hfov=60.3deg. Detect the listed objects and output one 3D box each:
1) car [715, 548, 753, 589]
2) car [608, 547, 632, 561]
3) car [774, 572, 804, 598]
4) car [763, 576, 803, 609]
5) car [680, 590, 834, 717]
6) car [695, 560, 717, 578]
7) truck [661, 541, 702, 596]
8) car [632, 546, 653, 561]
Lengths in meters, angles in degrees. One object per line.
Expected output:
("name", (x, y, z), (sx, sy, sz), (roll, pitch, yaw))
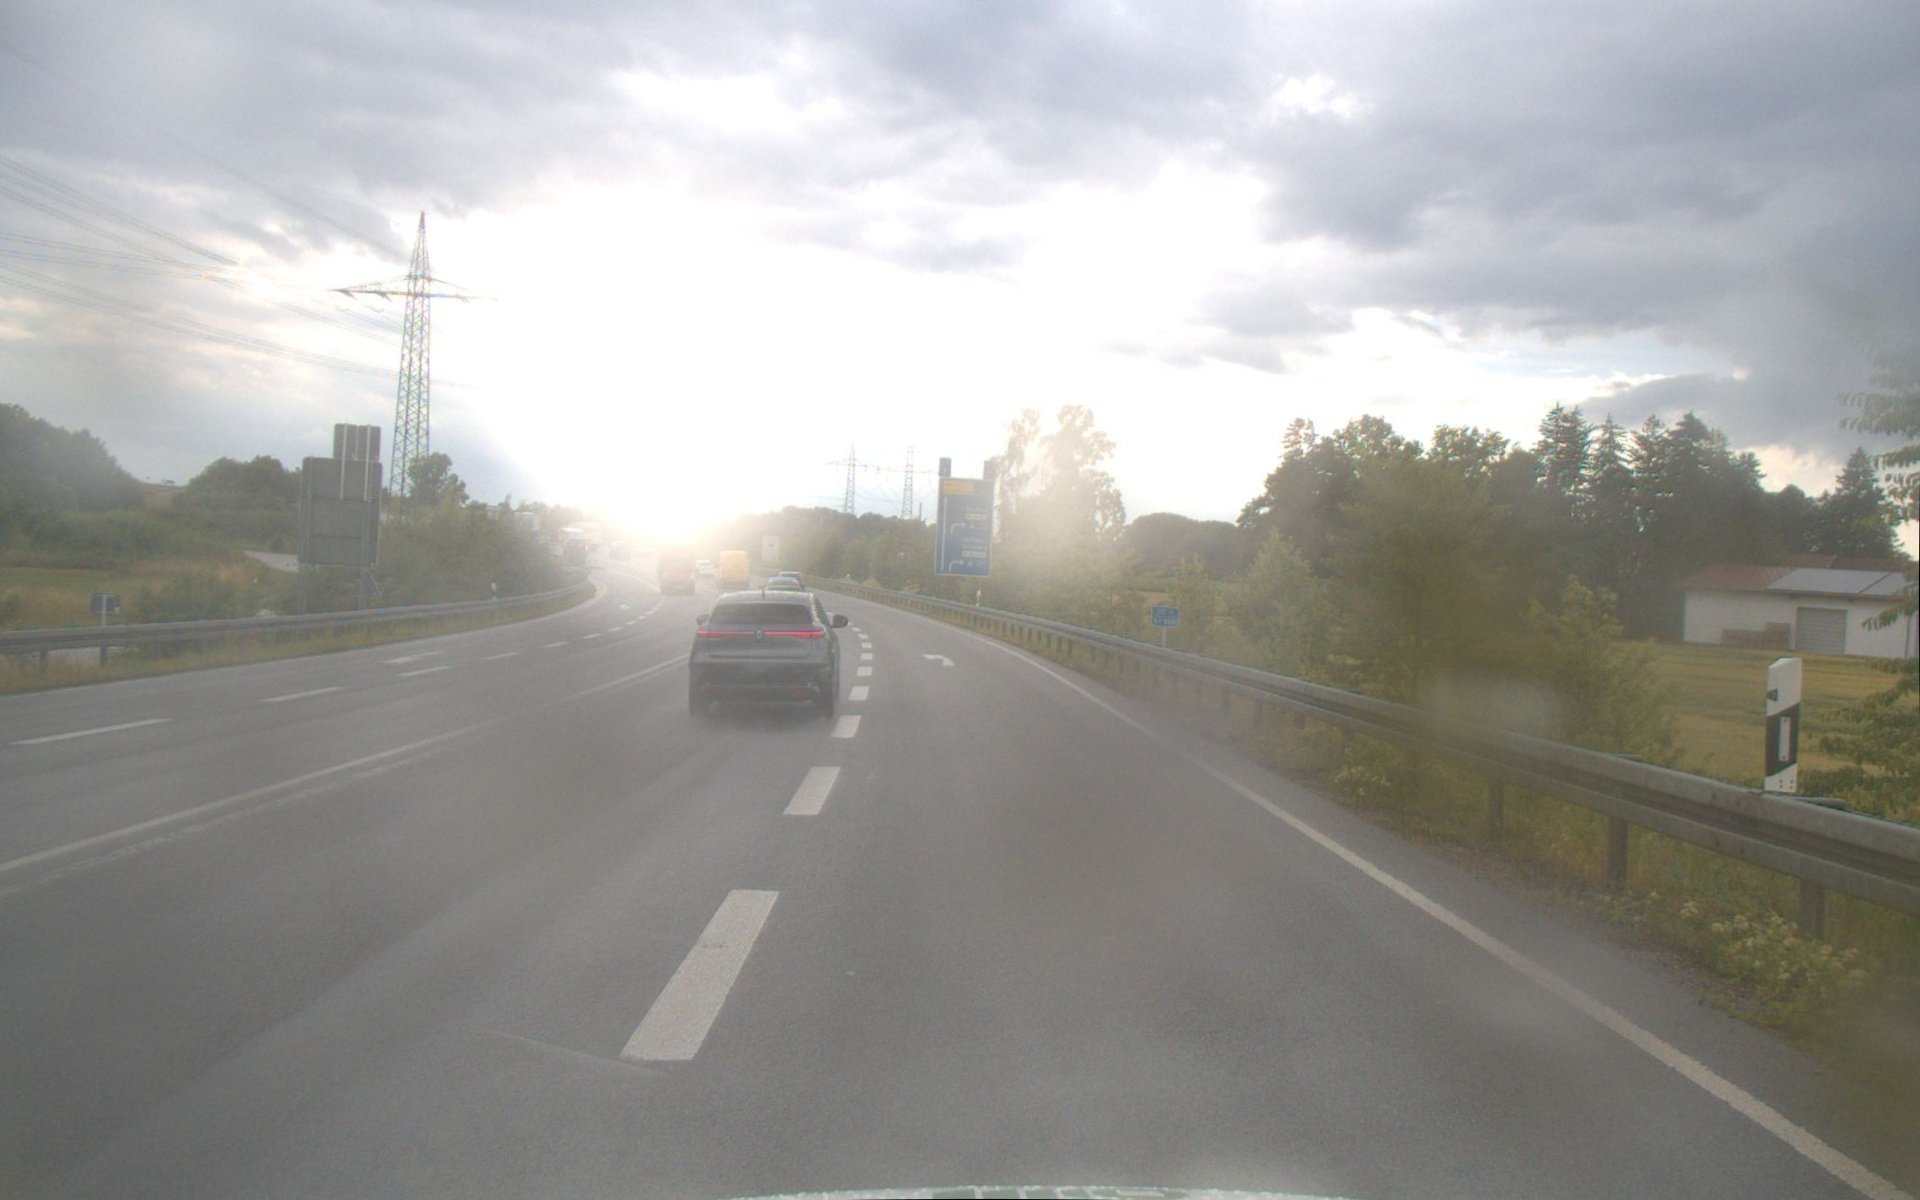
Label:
("car", (-16.126, -2.243, 117.928), (2.525, 2.772, 7.182), (-1, 1, -9))
("car", (-39.212, -5.299, 190.820), (1.769, 1.466, 3.969), (5, 0, -25))
("car", (-10.450, -0.918, 101.076), (1.757, 1.568, 3.995), (1, 0, -6))
("car", (-8.194, -0.358, 76.281), (1.757, 1.466, 3.994), (0, 1, -7))
("car", (-2.521, 0.612, 21.105), (1.756, 1.466, 3.996), (1, 0, -5))
("car", (-21.744, -2.637, 141.469), (1.759, 1.466, 3.991), (1, 1, -10))
("truck", (-17.510, -2.015, 104.070), (2.435, 3.349, 7.266), (0, 1, -9))
("car", (-38.407, -5.613, 199.810), (1.773, 1.601, 4.236), (3, 2, -20))
